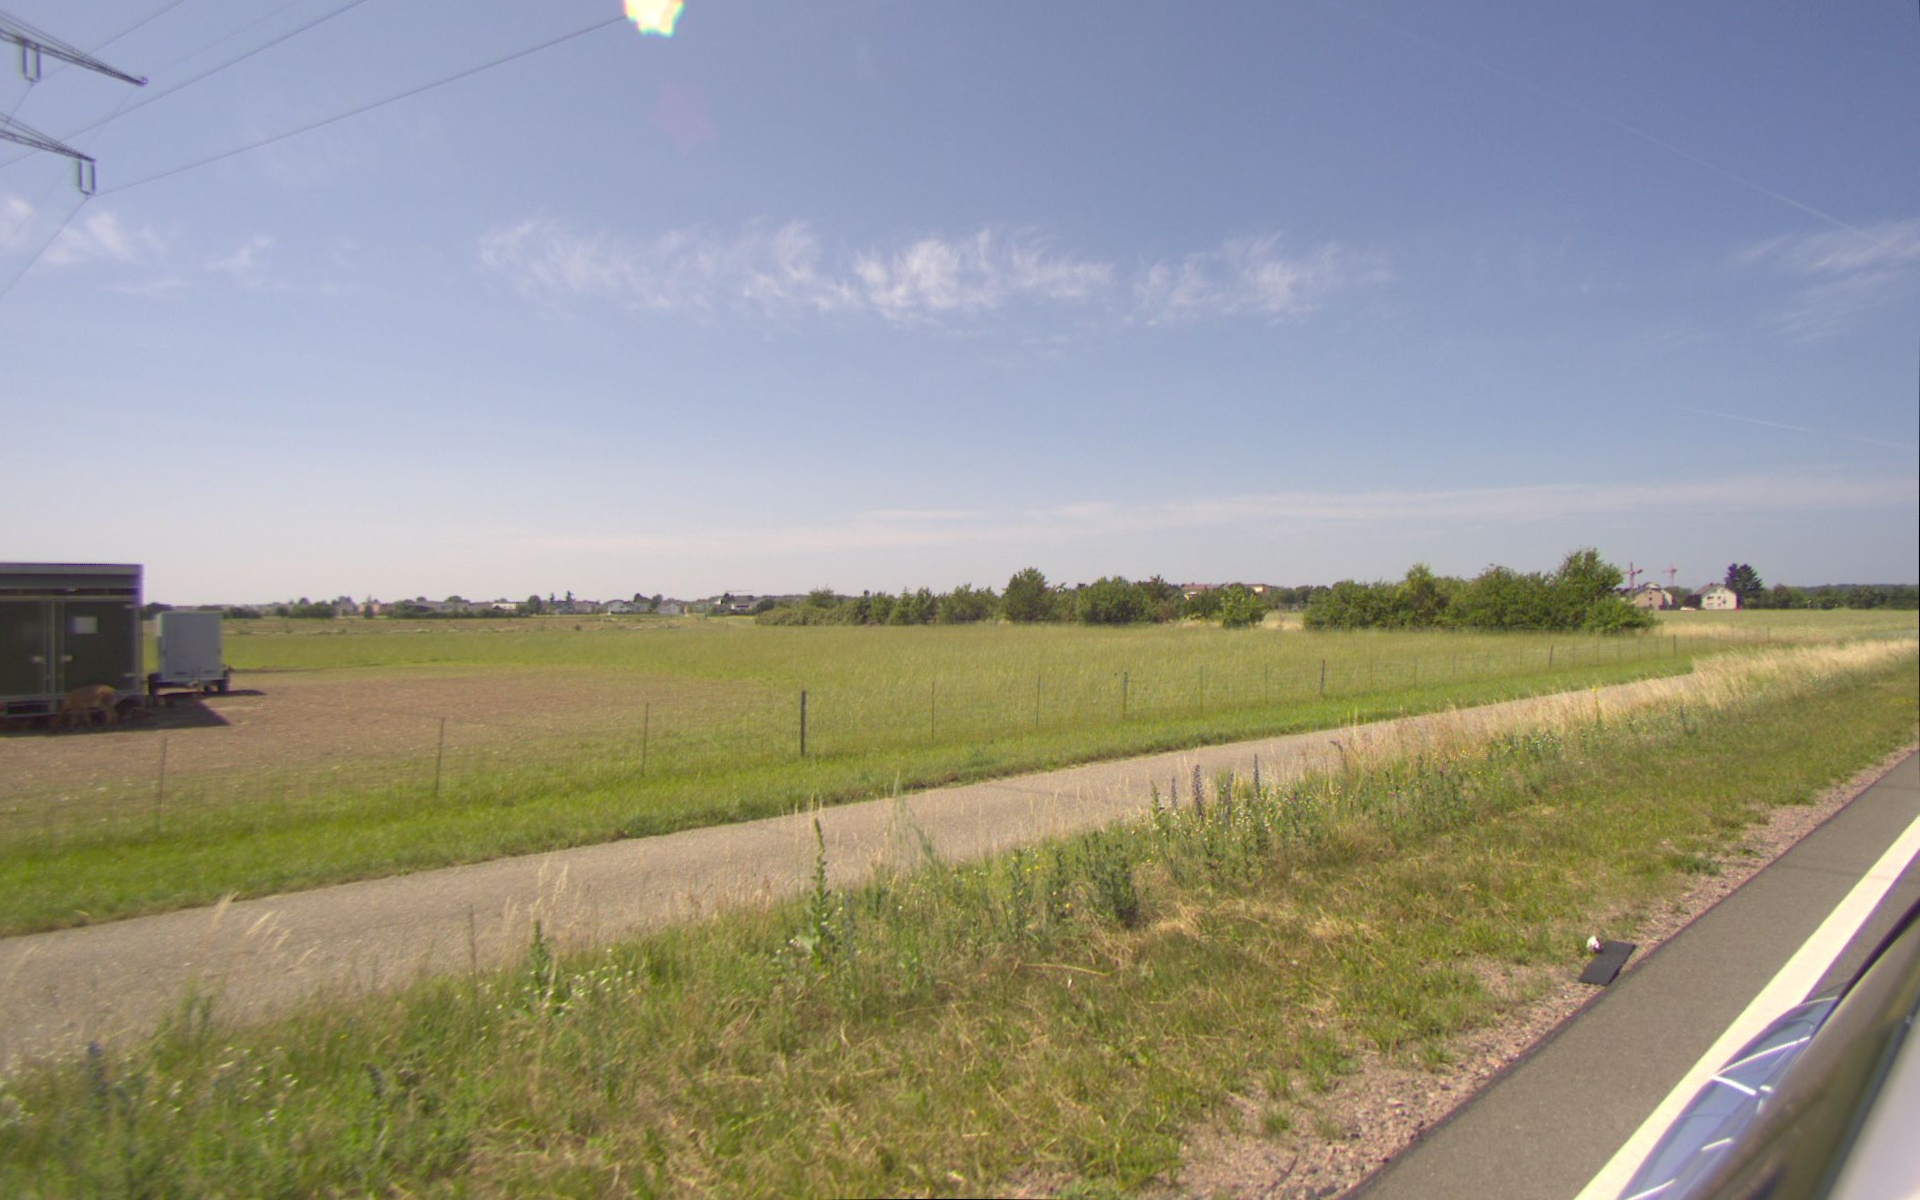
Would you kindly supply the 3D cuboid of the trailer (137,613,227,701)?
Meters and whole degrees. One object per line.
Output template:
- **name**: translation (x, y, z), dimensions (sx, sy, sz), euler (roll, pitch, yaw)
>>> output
- **trailer**: translation (-23.845, 1.664, 30.969), dimensions (2.002, 2.494, 3.412), euler (0, -1, -41)

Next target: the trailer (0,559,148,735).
- **trailer**: translation (-23.106, 1.007, 25.857), dimensions (3.219, 3.519, 13.531), euler (0, -1, -41)
